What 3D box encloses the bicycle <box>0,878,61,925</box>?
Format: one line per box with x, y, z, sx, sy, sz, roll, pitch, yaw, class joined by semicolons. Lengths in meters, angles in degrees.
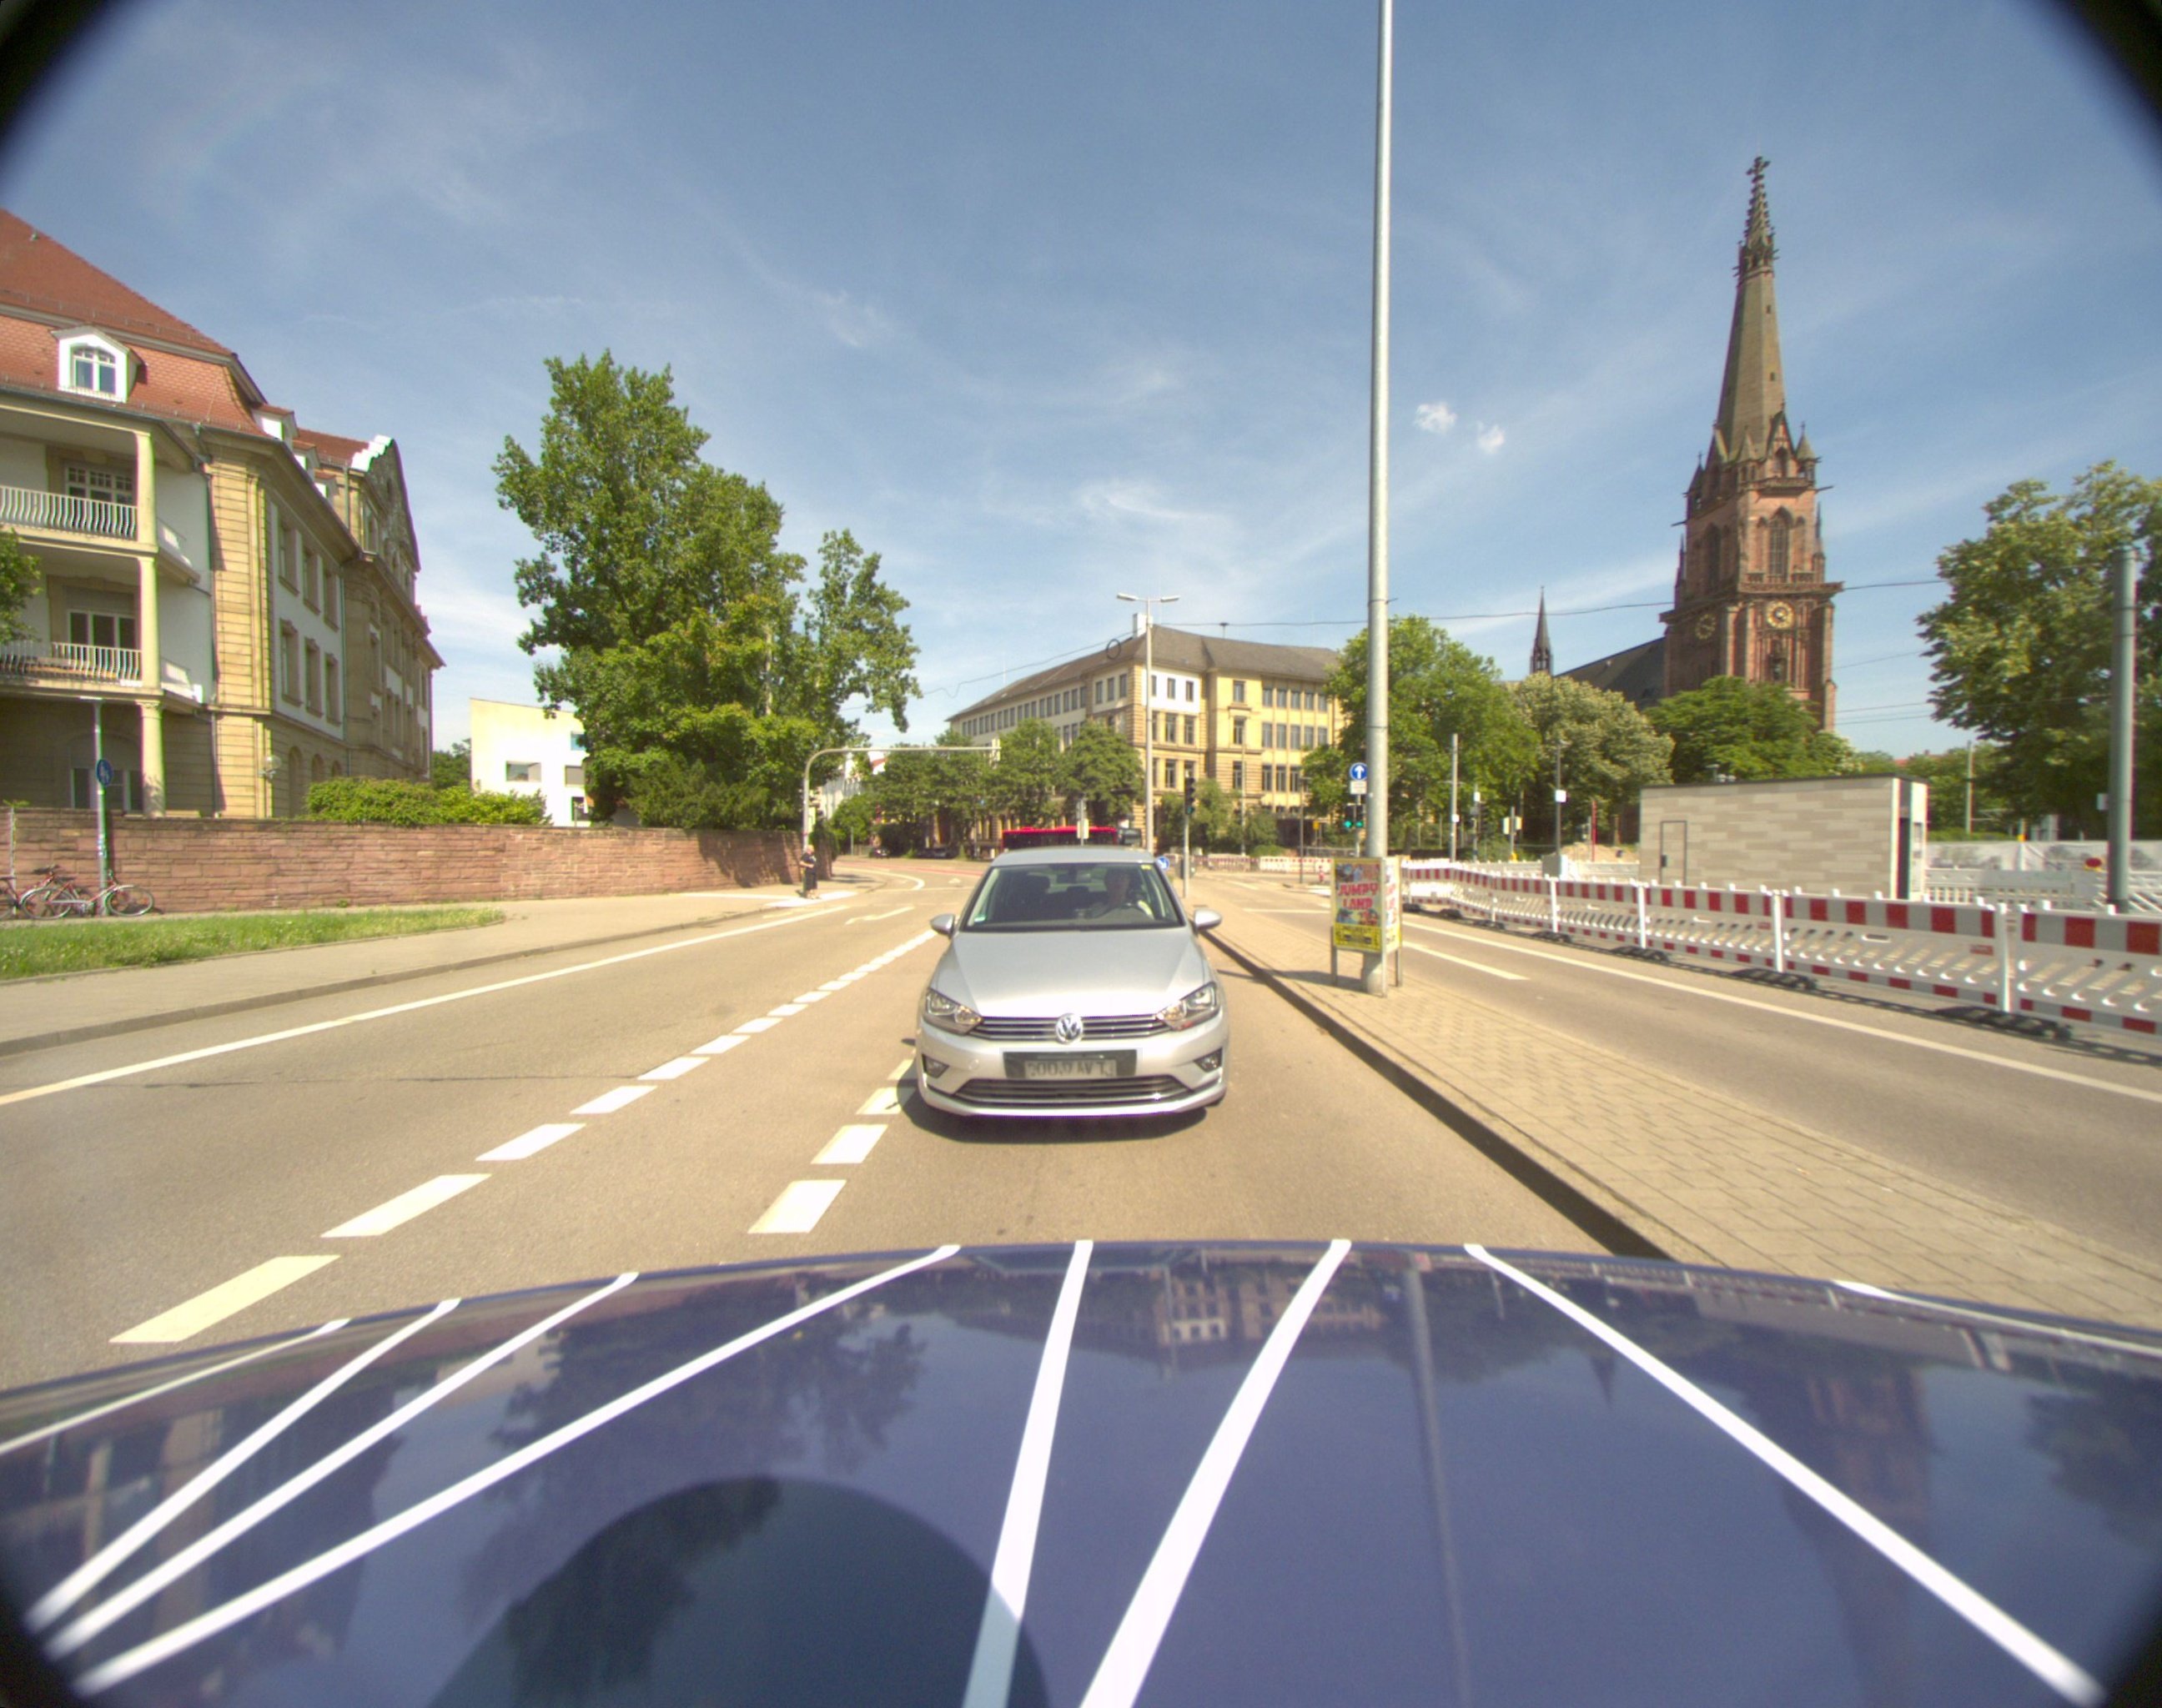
-21.361;0.953;15.095;0.393;0.878;1.230;1;1;20;bicycle

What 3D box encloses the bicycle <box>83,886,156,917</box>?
-20.630;1.011;16.314;0.273;0.598;0.950;2;1;39;bicycle

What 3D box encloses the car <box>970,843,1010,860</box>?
-10.135;-0.253;84.615;4.006;1.653;1.994;-3;4;-36;car

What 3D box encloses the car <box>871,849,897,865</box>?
-24.608;0.409;94.951;2.003;1.880;3.990;-3;2;-31;car

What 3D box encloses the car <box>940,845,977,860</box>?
-14.978;-0.214;93.014;4.006;1.653;1.994;-3;4;-34;car

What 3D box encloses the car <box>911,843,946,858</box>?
-20.227;-0.469;100.955;4.006;1.653;1.994;-3;4;-34;car

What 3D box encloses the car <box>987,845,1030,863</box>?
-7.645;-0.059;80.539;4.006;1.653;1.994;-3;4;-34;car

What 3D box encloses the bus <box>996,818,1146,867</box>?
-1.049;-0.709;53.561;3.139;3.076;12.378;-3;2;-42;bus

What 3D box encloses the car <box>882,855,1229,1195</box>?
-0.035;0.834;5.783;1.687;1.577;4.152;1;1;3;car

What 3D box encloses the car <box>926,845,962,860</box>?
-17.536;-0.214;97.031;4.006;1.653;1.994;-3;4;-35;car

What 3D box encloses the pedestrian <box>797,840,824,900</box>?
-9.142;0.535;25.732;0.796;2.002;0.615;0;1;-14;pedestrian

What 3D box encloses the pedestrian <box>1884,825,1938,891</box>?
25.500;0.117;23.353;0.820;2.002;0.686;1;1;3;pedestrian
